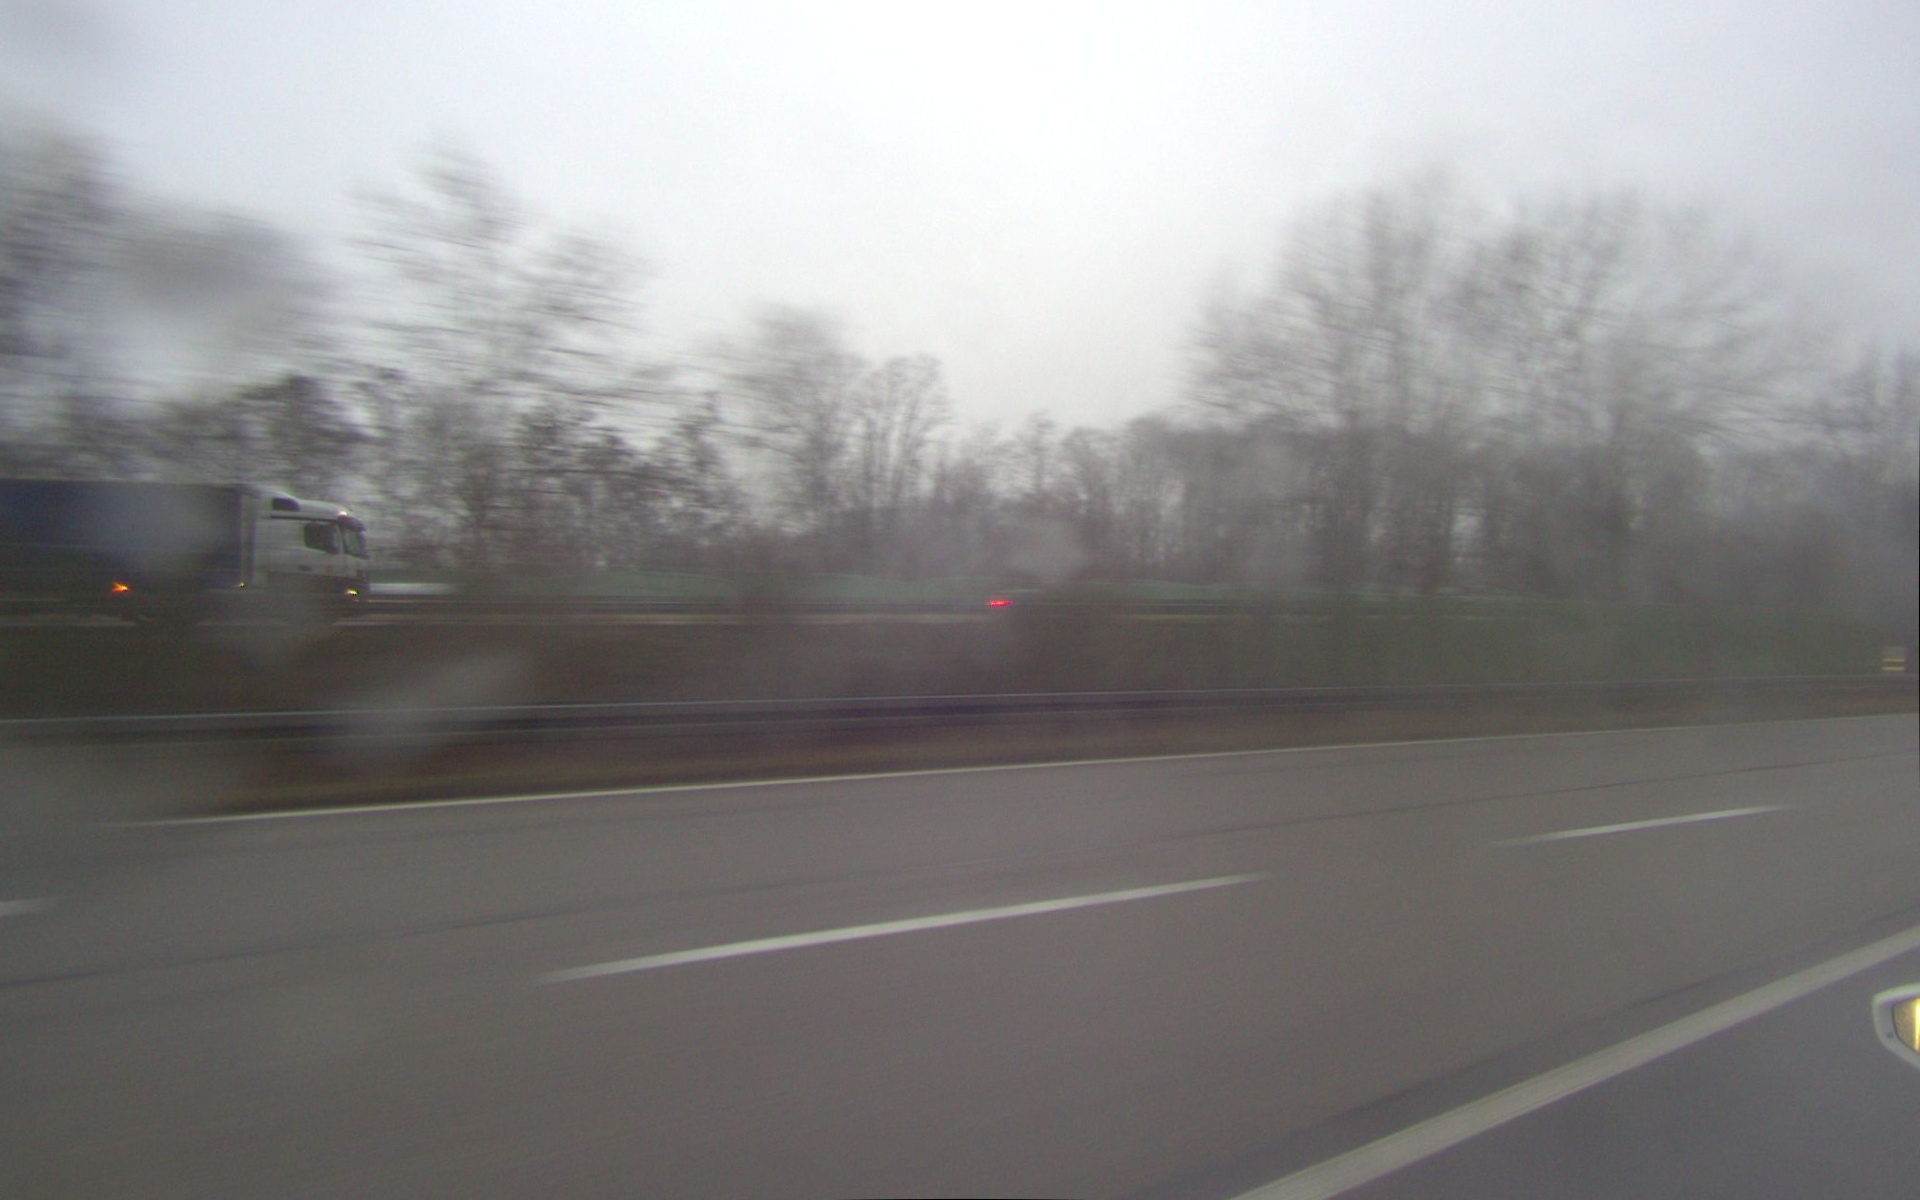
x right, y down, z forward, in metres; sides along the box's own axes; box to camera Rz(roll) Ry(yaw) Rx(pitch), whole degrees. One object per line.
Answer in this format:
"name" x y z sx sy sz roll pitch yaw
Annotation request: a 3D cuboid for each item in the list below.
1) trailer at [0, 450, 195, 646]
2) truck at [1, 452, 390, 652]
"trailer" -29.454 -1.523 27.388 13.026 5.170 3.299 2 -2 -19
"truck" -22.214 -1.191 29.965 8.390 5.197 3.272 2 -2 -20
